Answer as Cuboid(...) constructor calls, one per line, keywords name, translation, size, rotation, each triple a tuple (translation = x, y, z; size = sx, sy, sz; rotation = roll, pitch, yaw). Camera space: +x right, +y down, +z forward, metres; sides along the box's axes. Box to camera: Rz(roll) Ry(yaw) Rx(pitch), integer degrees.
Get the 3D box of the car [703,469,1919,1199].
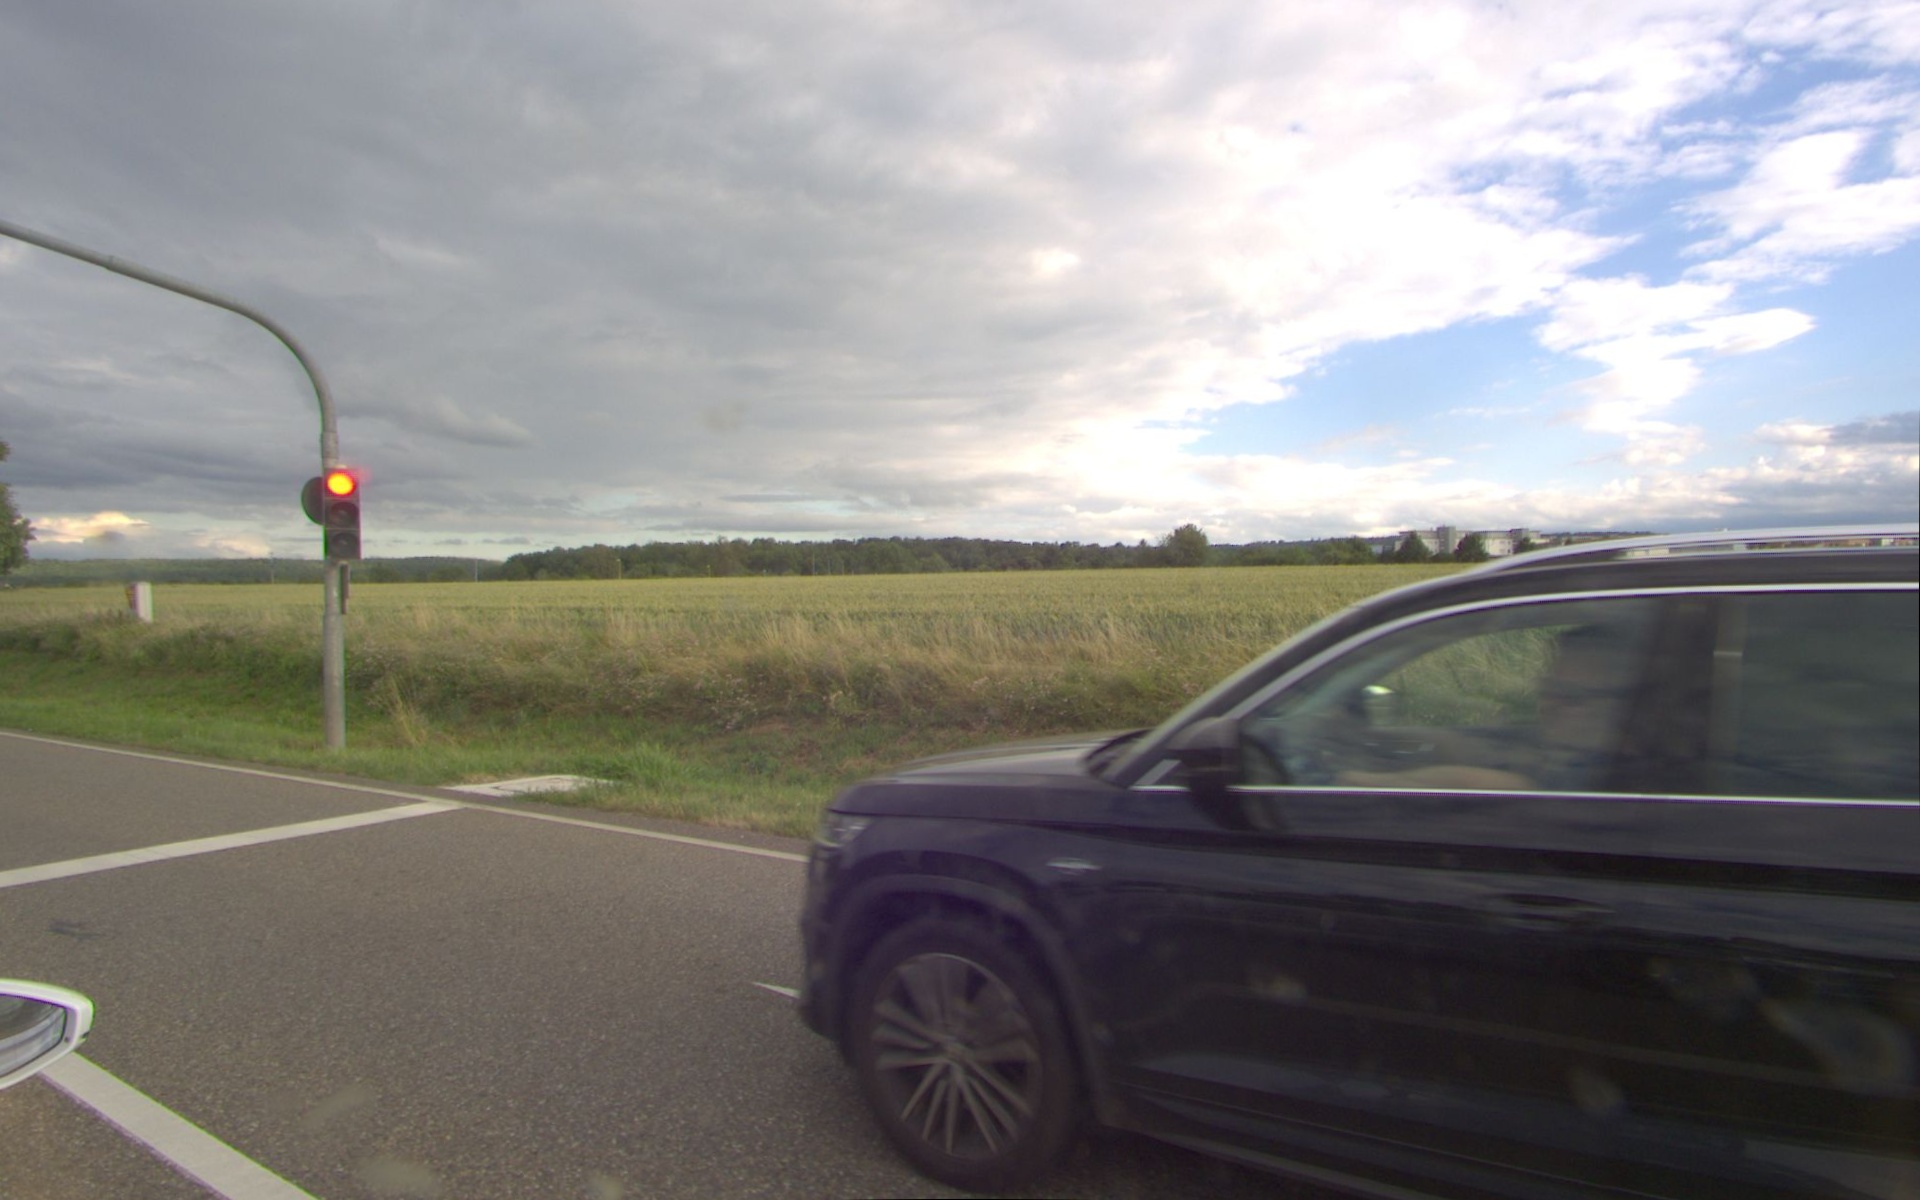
Cuboid(name="car", translation=(1.591, 0.696, 2.633), size=(4.492, 1.730, 1.833), rotation=(-1, -2, 32))
